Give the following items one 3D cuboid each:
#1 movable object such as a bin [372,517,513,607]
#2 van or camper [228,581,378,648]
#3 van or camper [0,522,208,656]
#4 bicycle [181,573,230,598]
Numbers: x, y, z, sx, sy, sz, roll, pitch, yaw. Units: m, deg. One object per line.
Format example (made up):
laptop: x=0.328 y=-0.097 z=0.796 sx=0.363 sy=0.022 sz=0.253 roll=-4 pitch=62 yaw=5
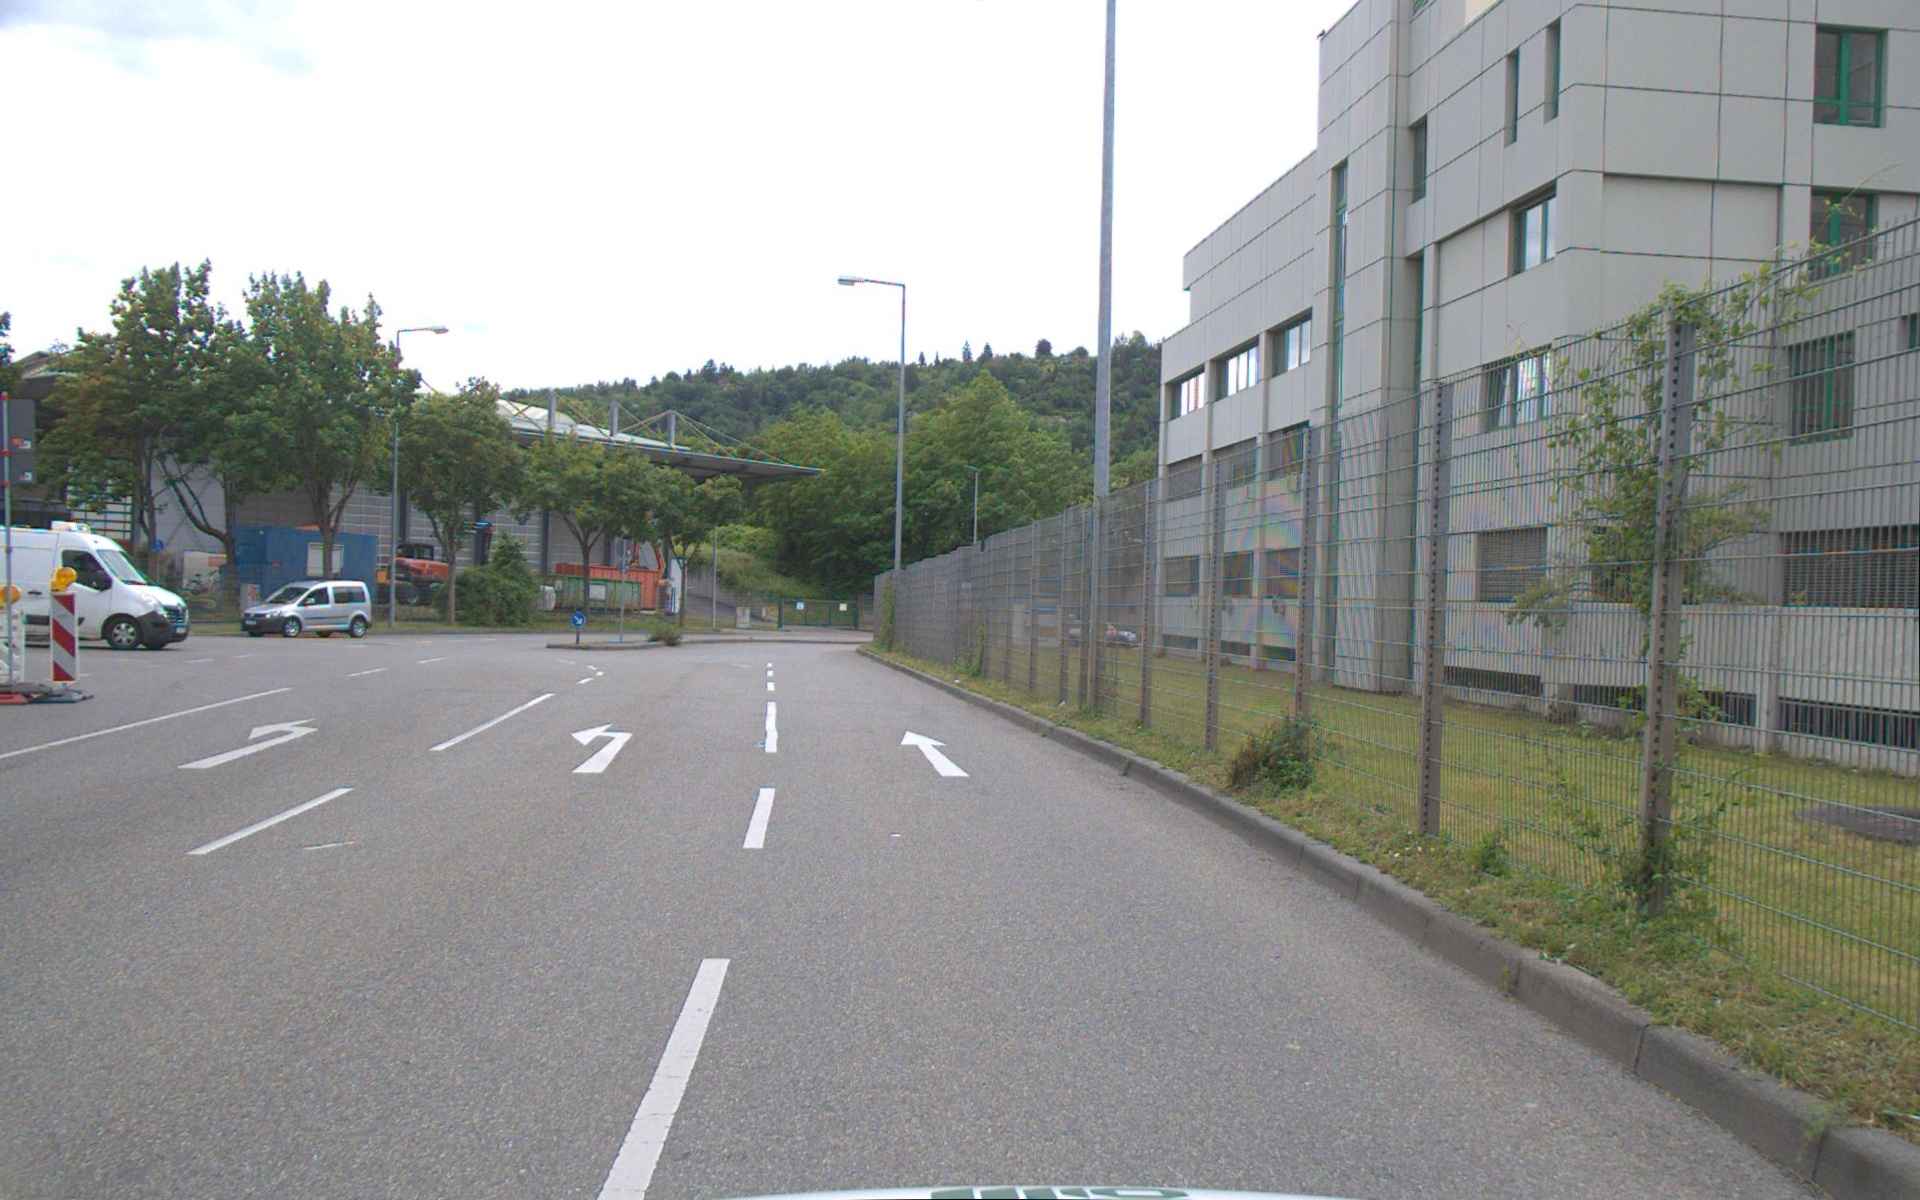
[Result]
movable object such as a bin: x=-24.949 y=-1.763 z=80.095 sx=2.672 sy=4.163 sz=6.544 roll=1 pitch=0 yaw=27
van or camper: x=-21.076 y=0.478 z=53.201 sx=1.914 sy=1.997 sz=4.272 roll=3 pitch=0 yaw=26
van or camper: x=-19.456 y=-0.293 z=34.923 sx=5.972 sy=2.601 sz=2.270 roll=3 pitch=0 yaw=-7
bicycle: x=-30.367 y=-0.579 z=66.595 sx=0.648 sy=0.991 sz=1.759 roll=1 pitch=0 yaw=26
